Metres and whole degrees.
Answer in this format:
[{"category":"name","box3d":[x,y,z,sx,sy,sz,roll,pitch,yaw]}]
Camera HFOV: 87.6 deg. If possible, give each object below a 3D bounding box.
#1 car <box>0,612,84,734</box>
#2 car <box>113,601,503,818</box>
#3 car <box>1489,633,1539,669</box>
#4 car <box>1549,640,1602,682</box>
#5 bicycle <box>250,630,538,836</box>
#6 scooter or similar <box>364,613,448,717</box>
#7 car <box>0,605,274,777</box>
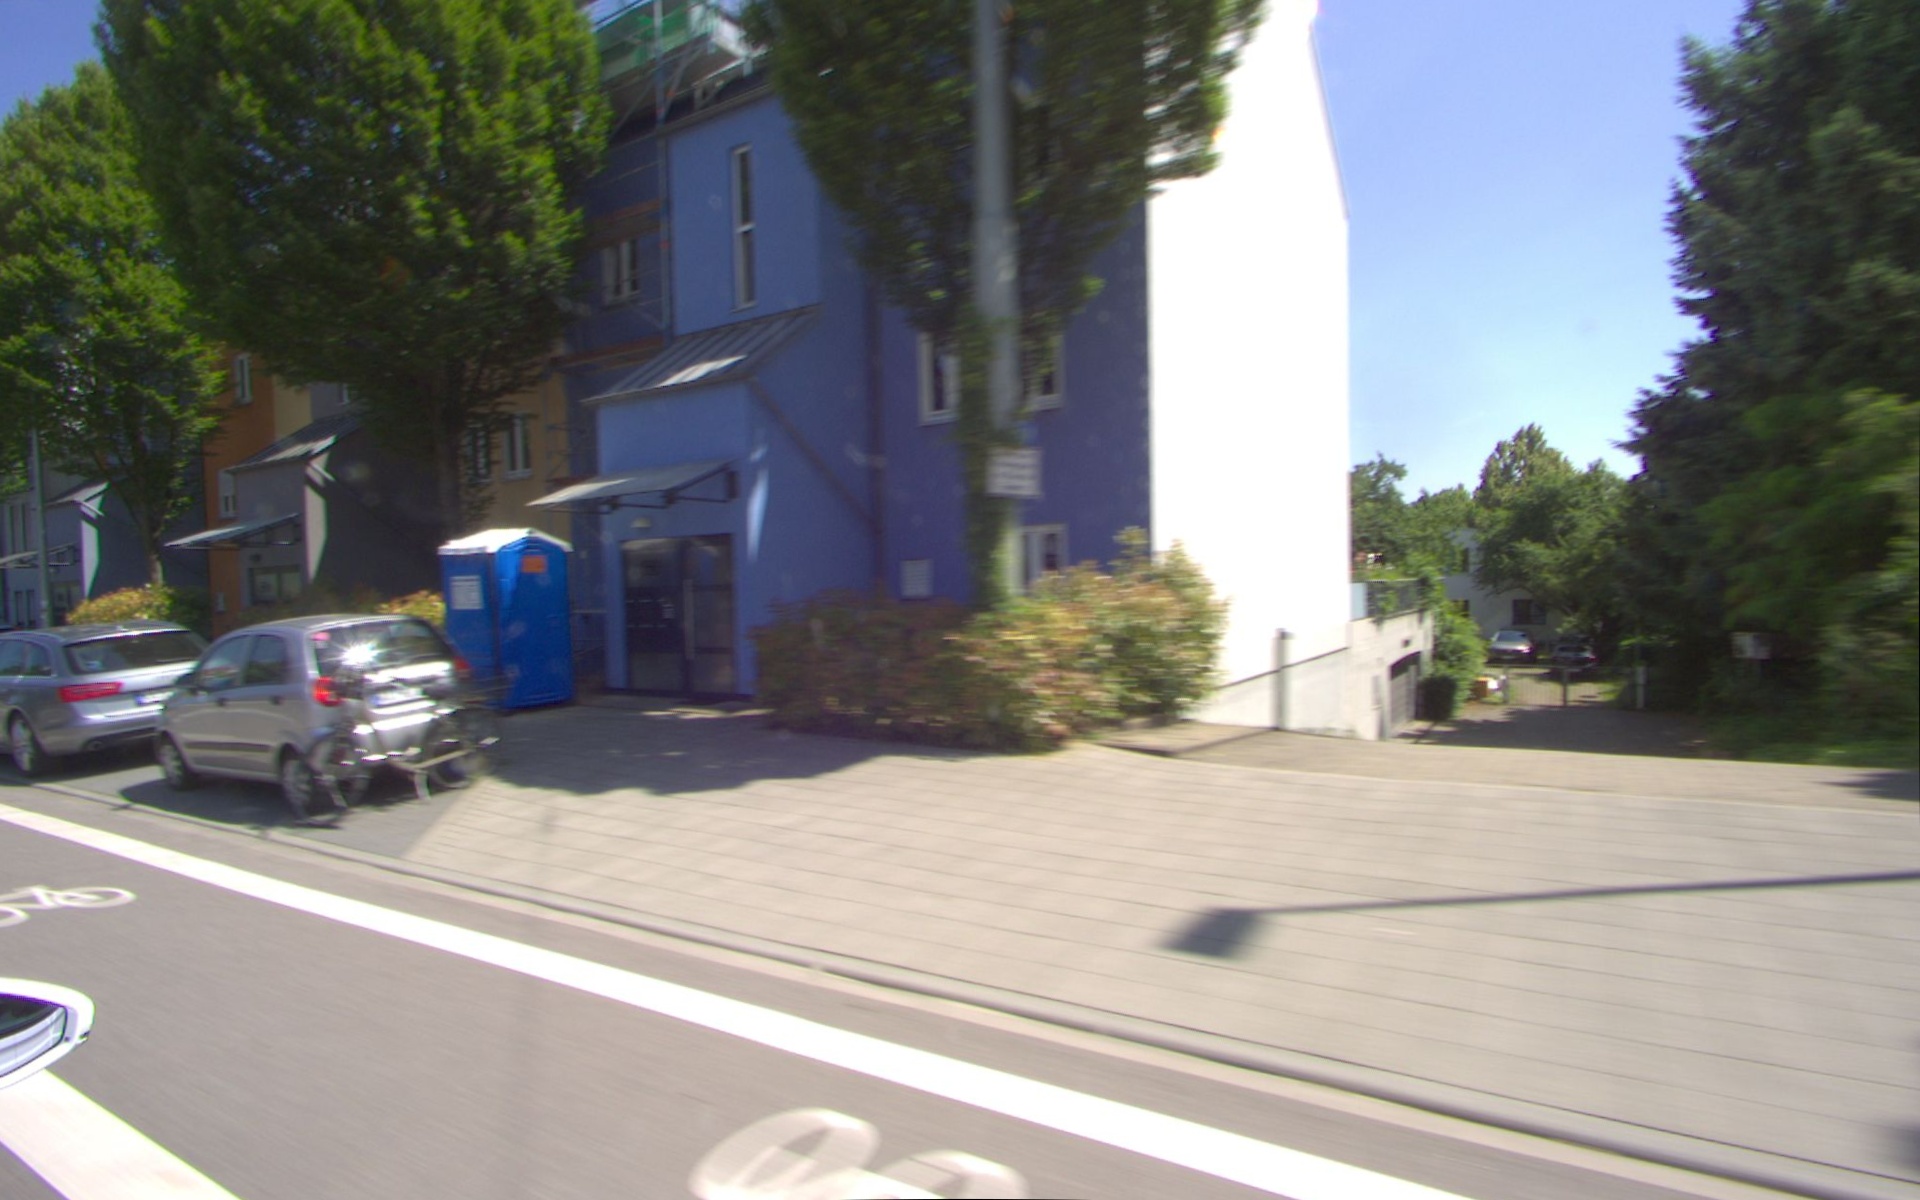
[{"category":"car","box3d":[-14.478,1.012,14.352,4.158,1.551,1.834,0,3,34]},{"category":"car","box3d":[-6.037,0.840,9.175,3.762,1.551,1.514,0,3,33]},{"category":"car","box3d":[25.970,2.343,46.867,1.775,1.572,3.979,-1,-2,33]},{"category":"car","box3d":[25.447,2.476,41.369,1.735,1.572,3.979,-1,-2,33]},{"category":"bicycle","box3d":[-4.424,0.971,7.965,0.675,1.245,1.766,0,6,36]},{"category":"scooter or similar","box3d":[-7.243,0.825,13.075,1.320,1.297,0.383,0,0,33]},{"category":"car","box3d":[-10.309,0.905,11.654,4.891,1.551,1.837,-1,3,30]}]
